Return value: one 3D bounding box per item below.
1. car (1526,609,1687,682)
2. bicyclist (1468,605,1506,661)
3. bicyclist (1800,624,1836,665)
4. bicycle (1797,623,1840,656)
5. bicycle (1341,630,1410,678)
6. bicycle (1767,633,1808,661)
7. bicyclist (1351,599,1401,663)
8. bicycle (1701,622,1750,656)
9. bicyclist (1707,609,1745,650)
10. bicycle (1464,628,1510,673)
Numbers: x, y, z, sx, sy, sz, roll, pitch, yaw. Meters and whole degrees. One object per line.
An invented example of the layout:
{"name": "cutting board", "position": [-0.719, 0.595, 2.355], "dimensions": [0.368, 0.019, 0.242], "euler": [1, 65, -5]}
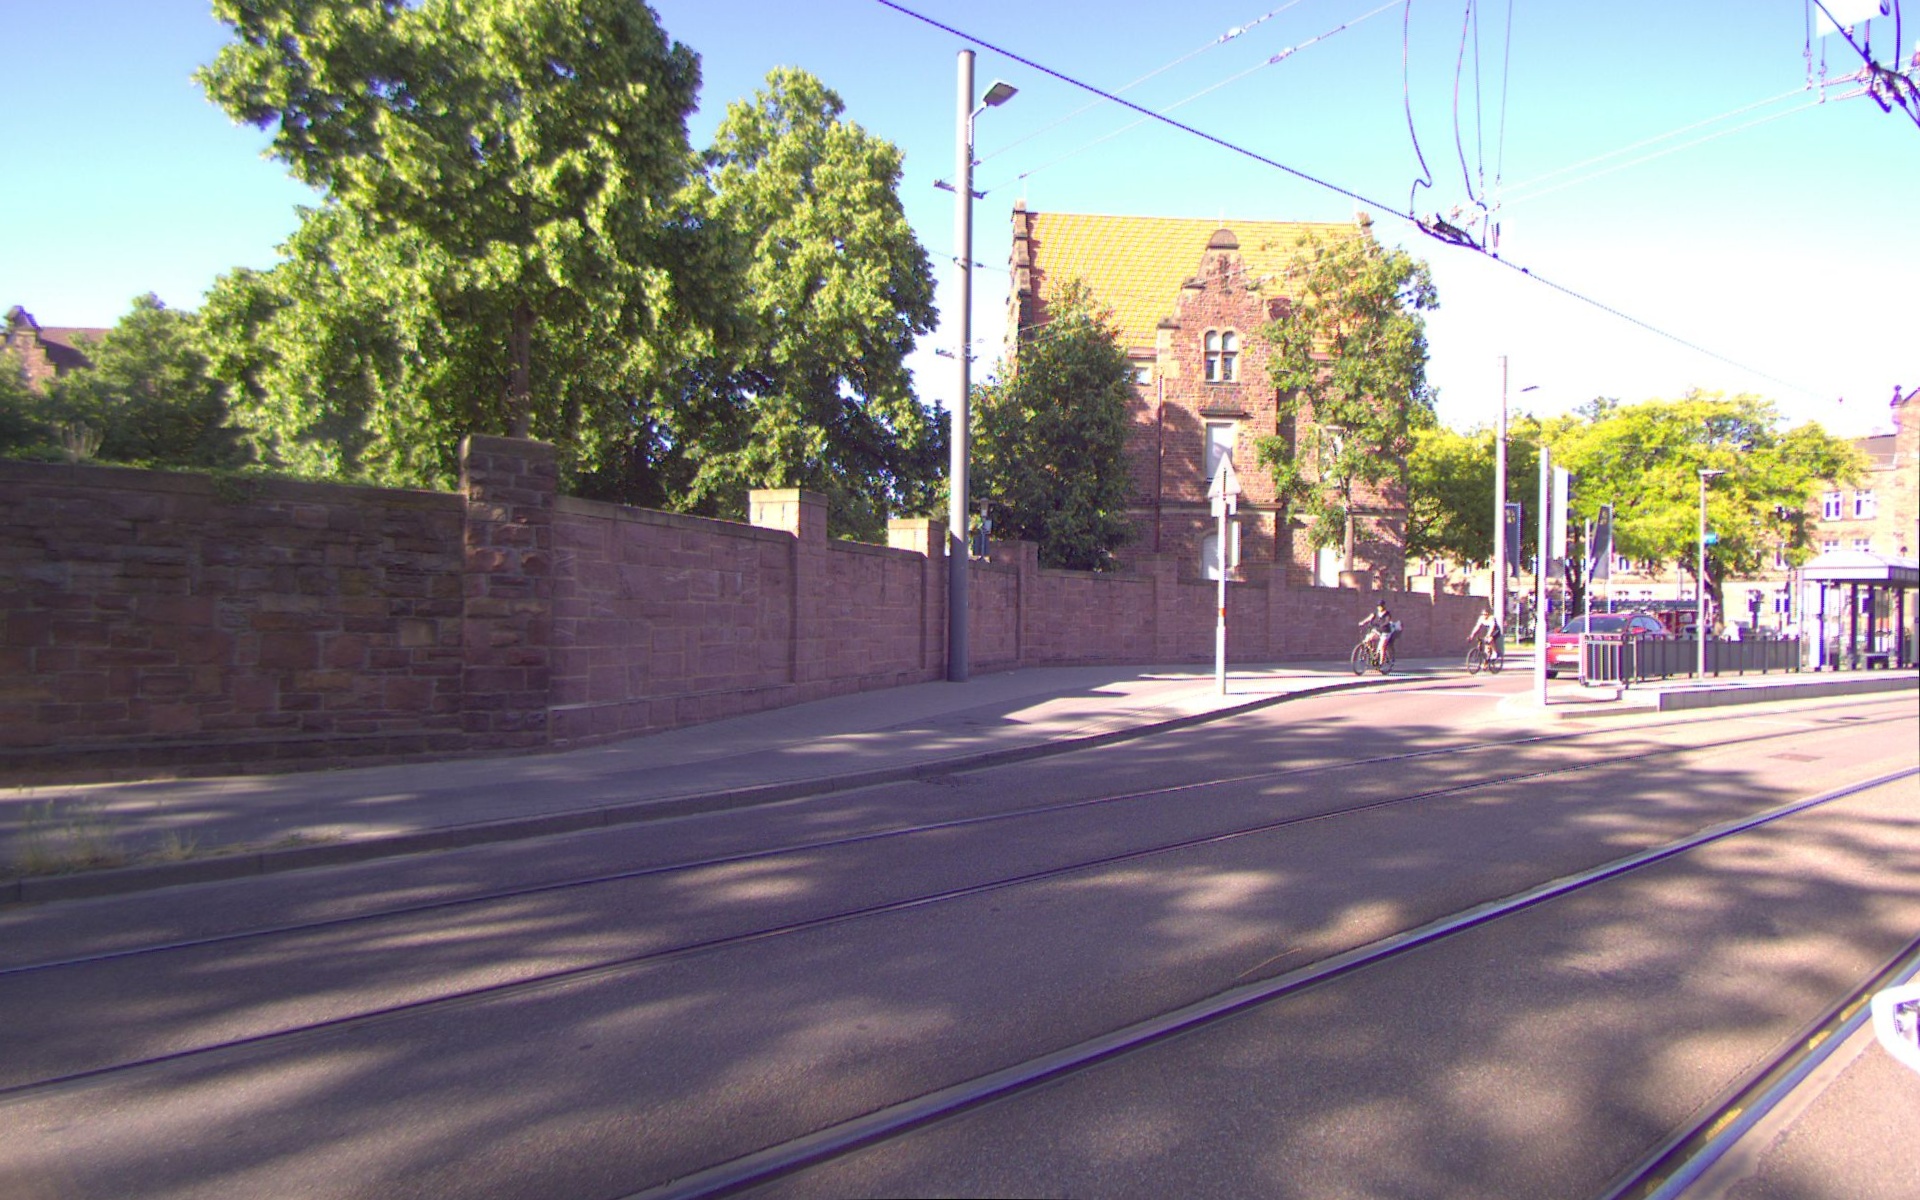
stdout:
{"name": "car", "position": [16.040, 1.088, 24.865], "dimensions": [4.314, 1.628, 1.807], "euler": [1, -1, -34]}
{"name": "bicyclist", "position": [14.395, 0.886, 27.411], "dimensions": [0.645, 1.478, 1.146], "euler": [1, 0, 42]}
{"name": "bicyclist", "position": [34.055, 1.758, 39.857], "dimensions": [1.334, 1.557, 0.756], "euler": [1, 0, -34]}
{"name": "bicycle", "position": [34.054, 1.552, 39.851], "dimensions": [2.067, 1.247, 0.772], "euler": [1, -1, -34]}
{"name": "bicycle", "position": [9.959, 1.270, 24.036], "dimensions": [2.047, 1.103, 0.678], "euler": [1, -1, -41]}
{"name": "bicycle", "position": [33.703, 1.900, 40.894], "dimensions": [1.992, 1.087, 0.665], "euler": [1, 1, -32]}
{"name": "bicyclist", "position": [9.966, 0.735, 24.033], "dimensions": [1.143, 1.478, 0.647], "euler": [1, 0, -40]}
{"name": "bicycle", "position": [28.725, 1.467, 37.684], "dimensions": [1.931, 1.214, 0.811], "euler": [2, 0, -32]}
{"name": "bicyclist", "position": [28.726, 1.097, 37.683], "dimensions": [1.177, 1.490, 0.752], "euler": [2, 0, -32]}
{"name": "bicycle", "position": [14.413, 1.398, 27.437], "dimensions": [0.677, 1.102, 1.846], "euler": [0, -5, 42]}
